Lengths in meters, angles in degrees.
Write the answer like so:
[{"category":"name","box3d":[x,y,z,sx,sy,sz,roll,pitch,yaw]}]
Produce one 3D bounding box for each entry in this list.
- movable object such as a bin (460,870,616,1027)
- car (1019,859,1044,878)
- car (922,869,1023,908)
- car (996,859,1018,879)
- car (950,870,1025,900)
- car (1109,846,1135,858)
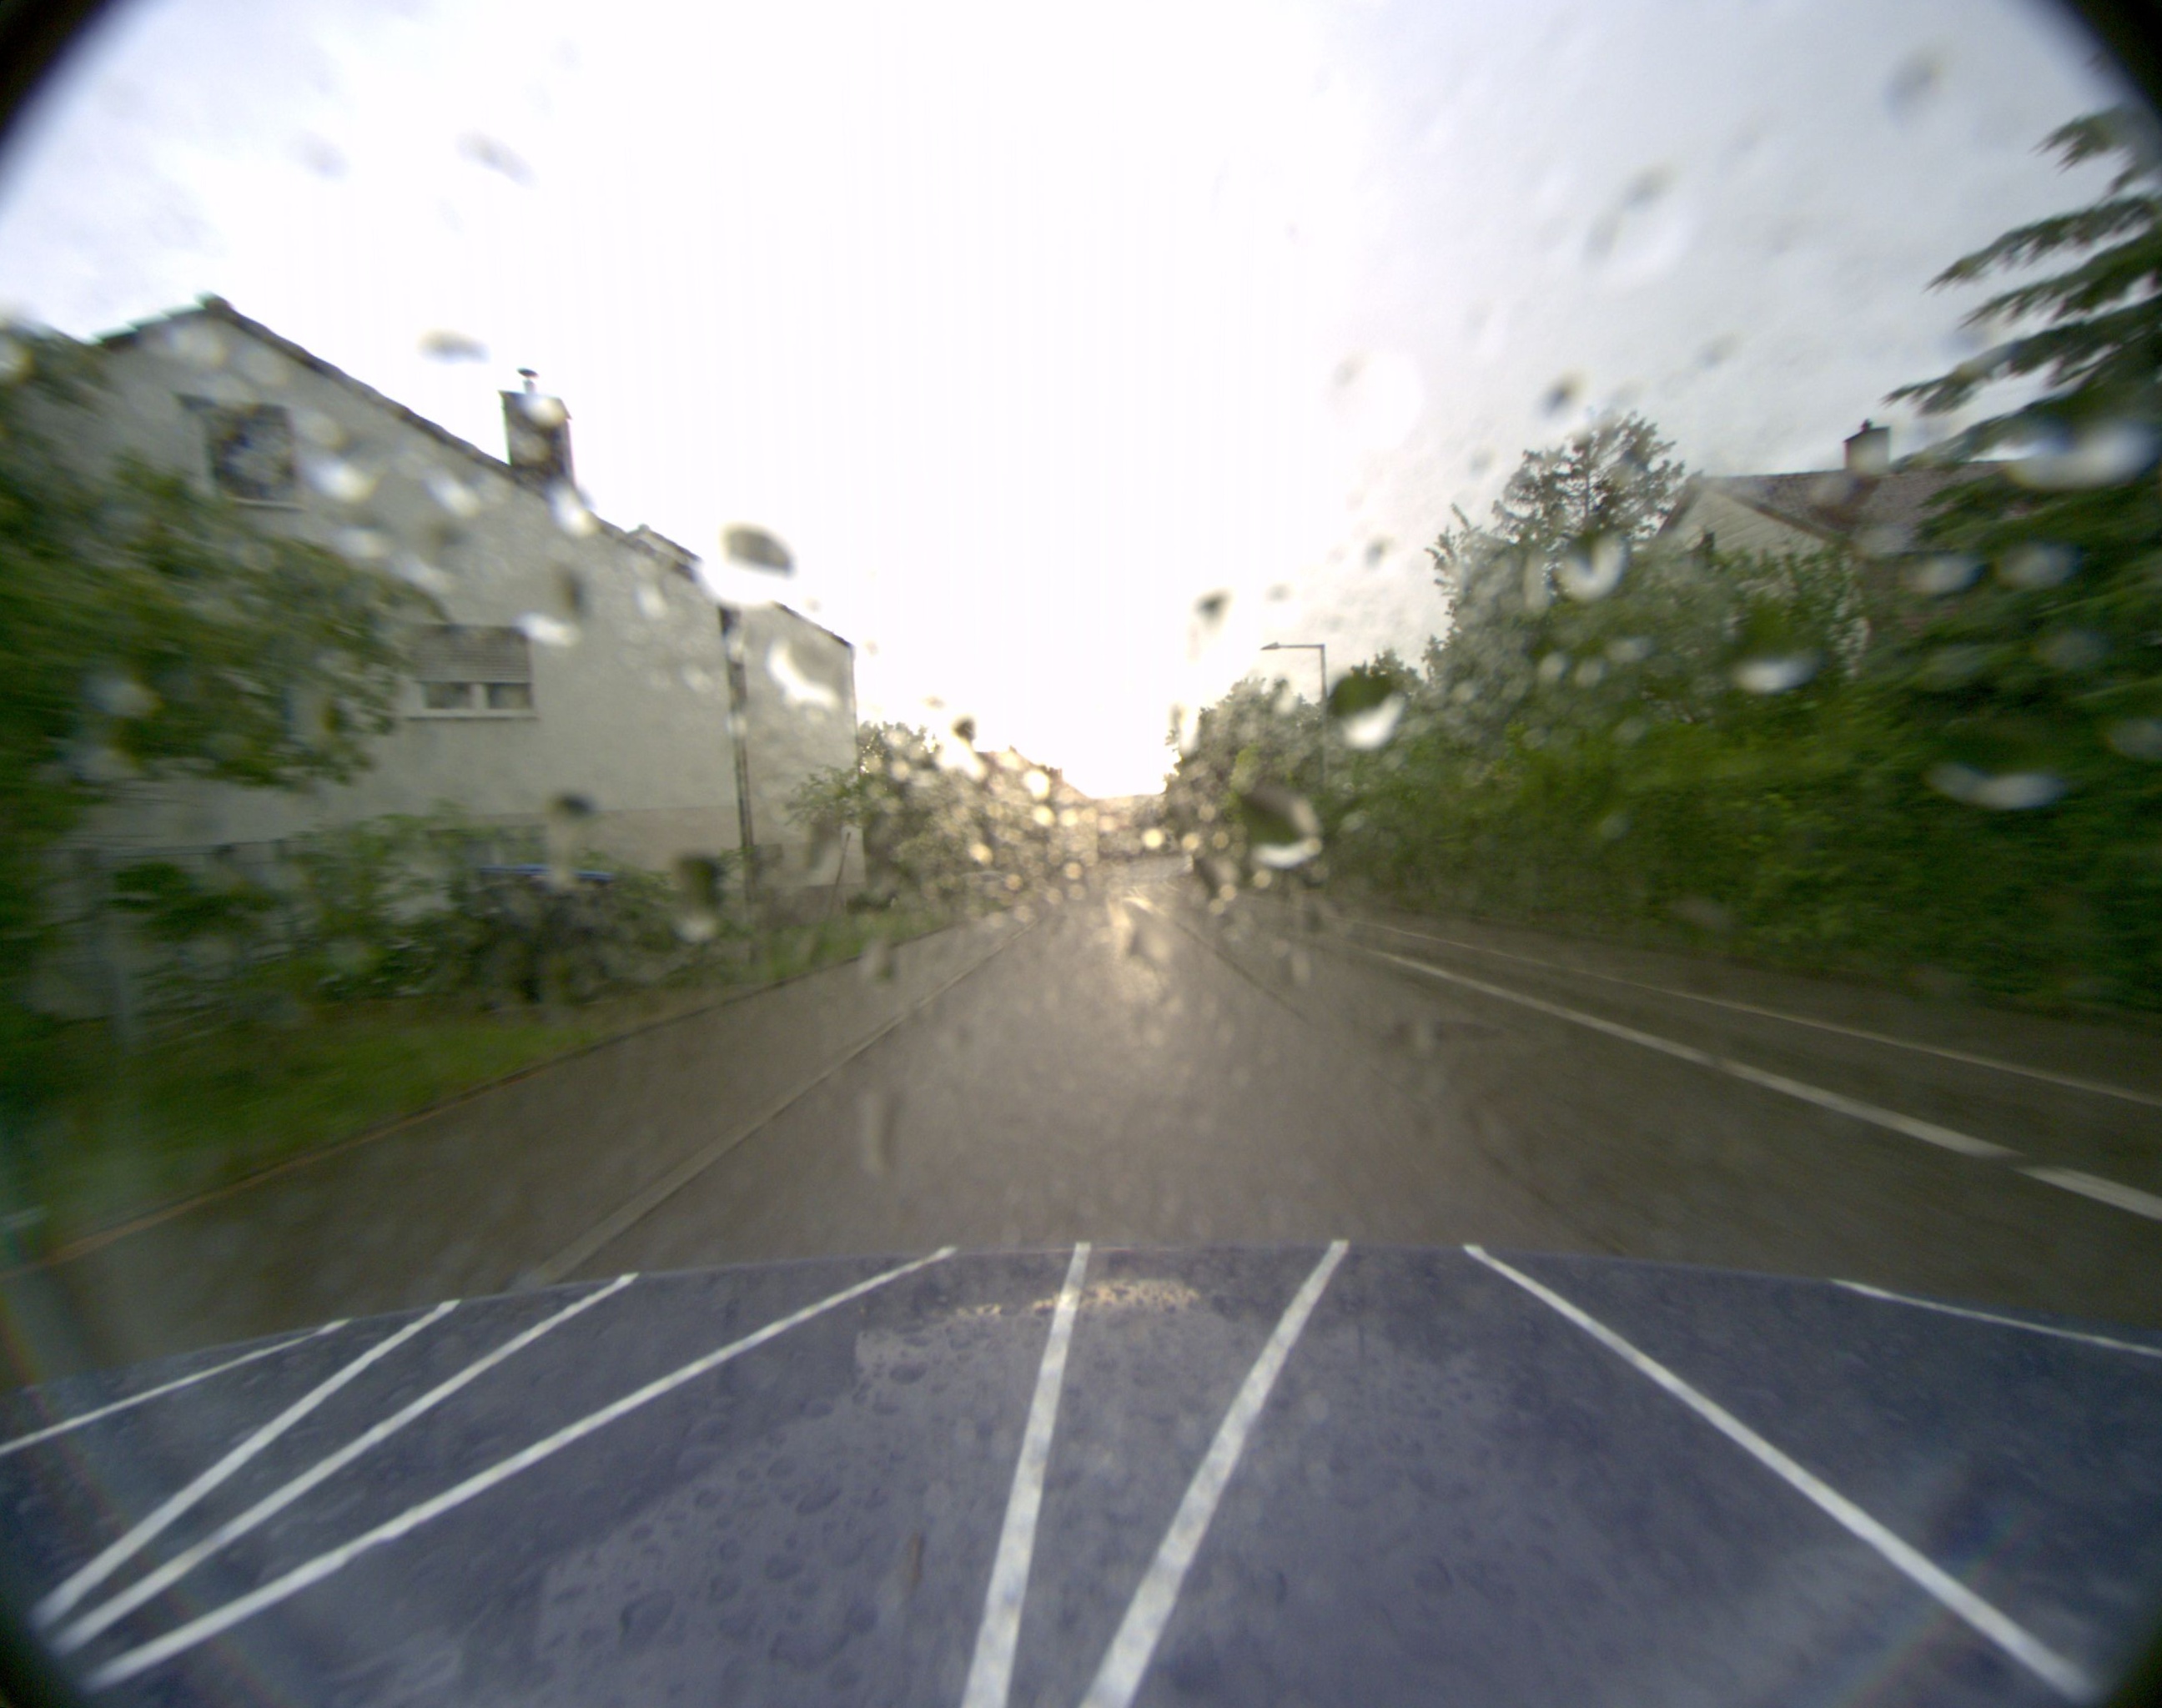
[{"category":"movable object such as a bin","box3d":[-5.716,0.931,8.097,1.246,1.488,0.981,-2,0,-32]},{"category":"car","box3d":[-4.787,1.369,73.307,1.725,1.555,3.788,0,3,-15]},{"category":"car","box3d":[-5.033,1.593,35.711,4.539,1.650,1.856,-2,-1,-4]},{"category":"car","box3d":[-7.091,1.388,72.359,1.796,1.584,4.250,0,3,-10]},{"category":"car","box3d":[-4.981,1.664,40.958,3.752,1.450,1.725,-2,-1,1]},{"category":"car","box3d":[6.678,-0.326,123.561,3.937,1.772,1.768,-1,3,-13]}]
